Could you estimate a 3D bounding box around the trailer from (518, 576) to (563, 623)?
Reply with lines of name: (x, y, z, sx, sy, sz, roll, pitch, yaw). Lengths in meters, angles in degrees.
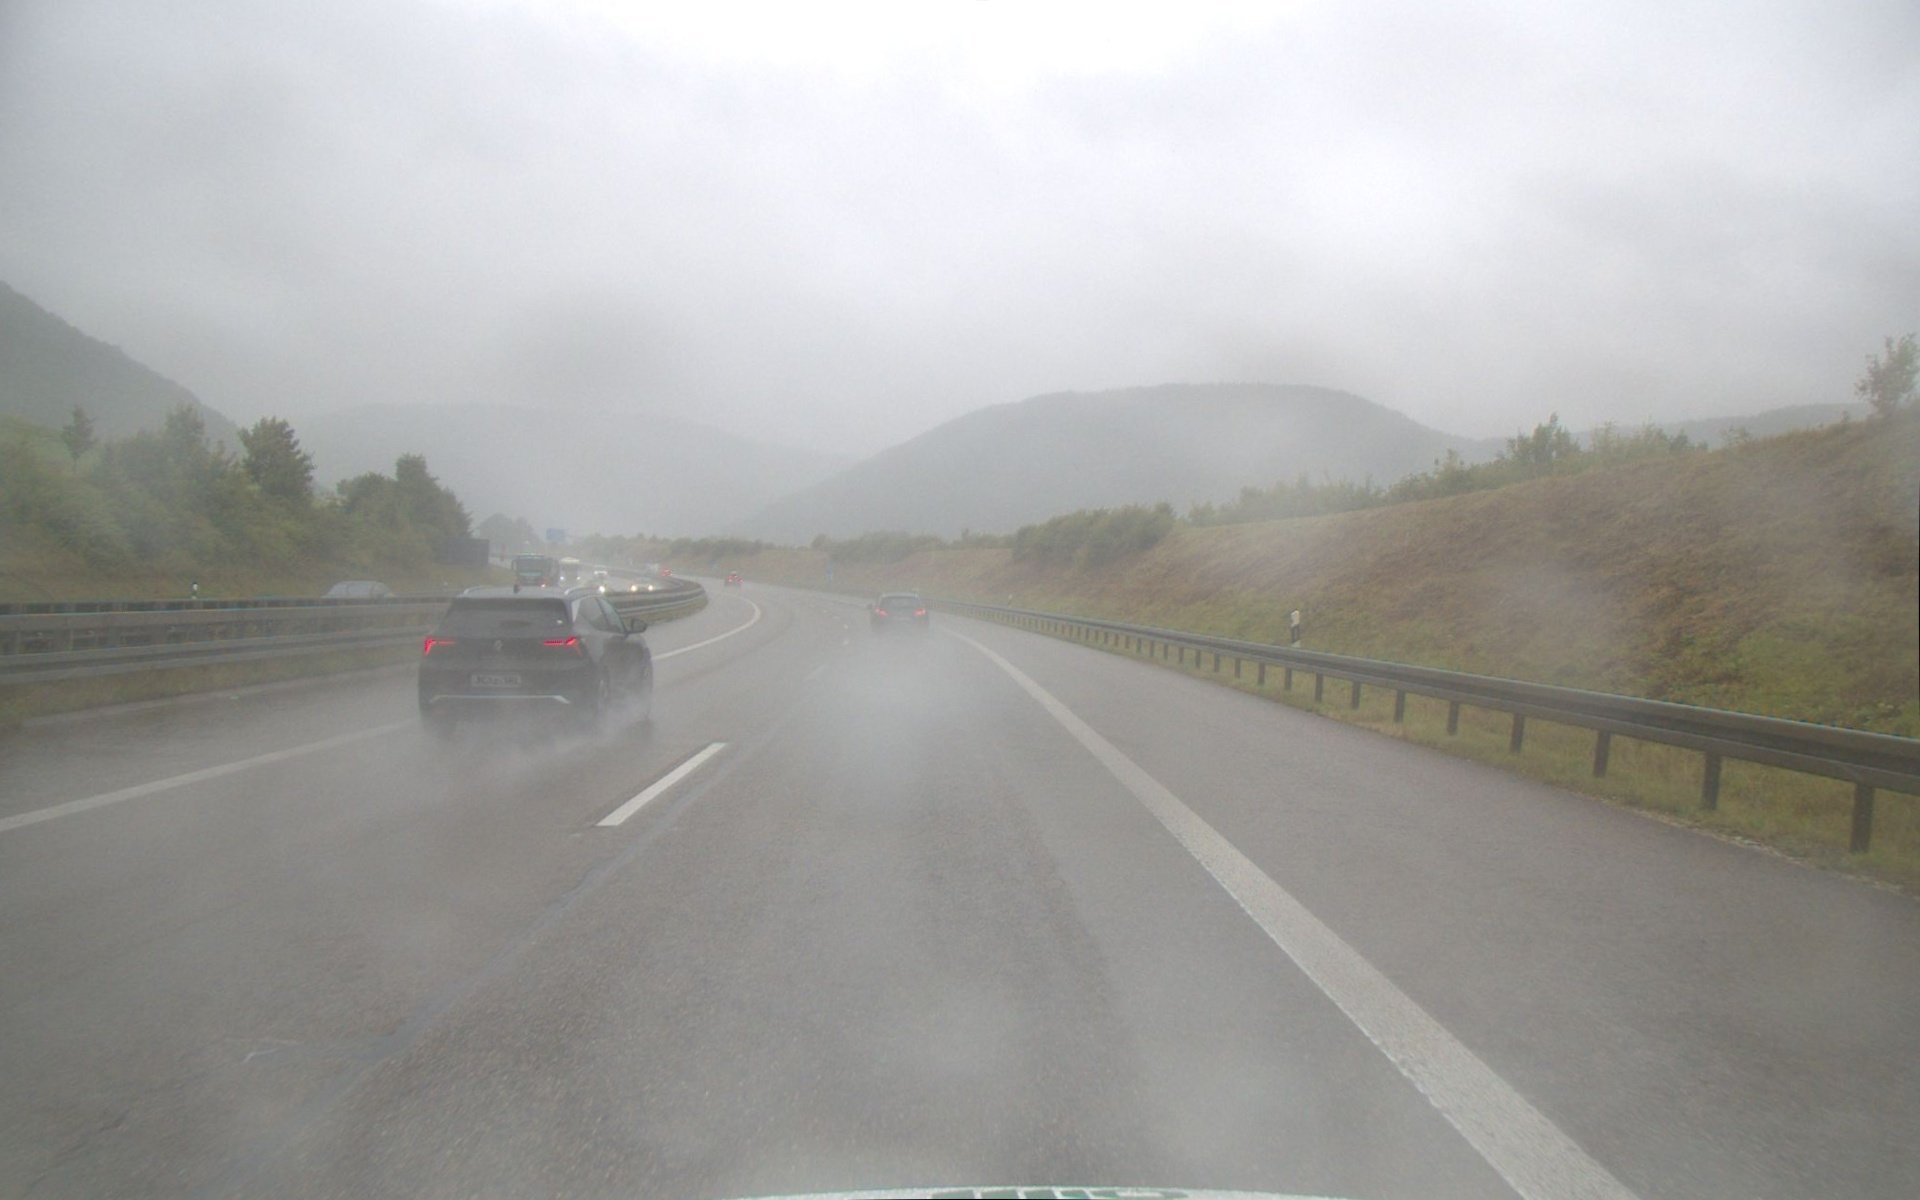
trailer: (-32.960, -0.067, 130.199, 2.670, 3.552, 9.373, 1, 0, -10)

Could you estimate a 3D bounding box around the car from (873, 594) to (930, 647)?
car: (-1.813, 0.612, 50.679, 1.645, 1.498, 3.812, 2, 0, -3)

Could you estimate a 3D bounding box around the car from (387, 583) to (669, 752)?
car: (-4.544, 0.651, 18.223, 2.361, 1.542, 4.776, 2, 0, -8)

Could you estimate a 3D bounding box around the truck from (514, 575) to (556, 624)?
truck: (-32.096, -0.061, 125.069, 2.666, 3.604, 5.298, 1, 0, -10)

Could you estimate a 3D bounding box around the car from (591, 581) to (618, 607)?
car: (-29.346, -0.498, 136.587, 1.877, 2.049, 3.993, 1, 0, -8)
